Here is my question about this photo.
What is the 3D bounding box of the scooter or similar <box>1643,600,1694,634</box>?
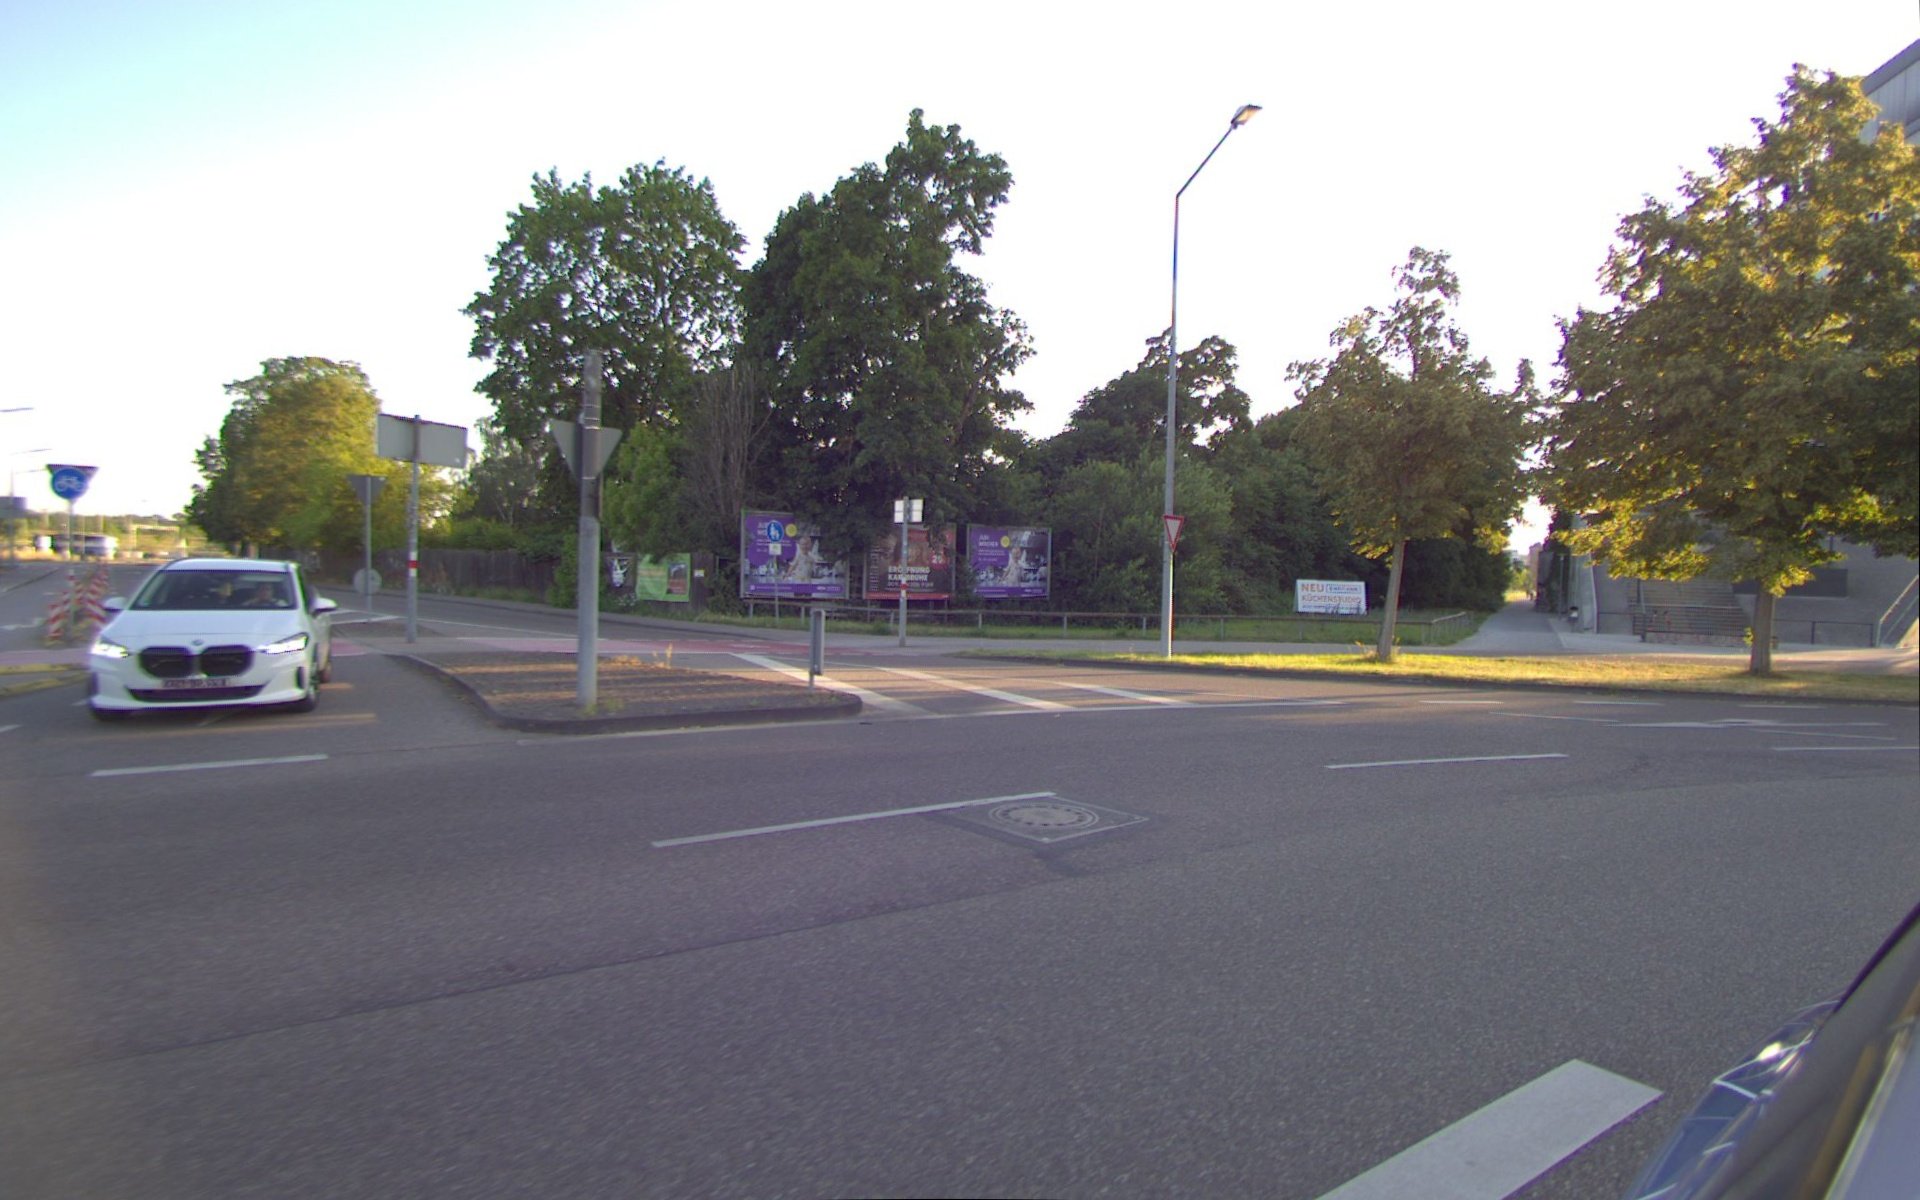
[{"bbox_3d":[27.576,0.662,39.400,0.359,1.235,1.579,1,1,-30],"label":"scooter or similar"}]

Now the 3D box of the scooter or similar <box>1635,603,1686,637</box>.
[{"bbox_3d":[27.080,0.755,39.139,0.359,1.235,1.579,1,1,-30],"label":"scooter or similar"}]

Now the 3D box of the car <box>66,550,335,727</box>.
[{"bbox_3d":[-8.143,0.284,11.248,1.853,1.578,4.101,1,2,-29],"label":"car"}]
